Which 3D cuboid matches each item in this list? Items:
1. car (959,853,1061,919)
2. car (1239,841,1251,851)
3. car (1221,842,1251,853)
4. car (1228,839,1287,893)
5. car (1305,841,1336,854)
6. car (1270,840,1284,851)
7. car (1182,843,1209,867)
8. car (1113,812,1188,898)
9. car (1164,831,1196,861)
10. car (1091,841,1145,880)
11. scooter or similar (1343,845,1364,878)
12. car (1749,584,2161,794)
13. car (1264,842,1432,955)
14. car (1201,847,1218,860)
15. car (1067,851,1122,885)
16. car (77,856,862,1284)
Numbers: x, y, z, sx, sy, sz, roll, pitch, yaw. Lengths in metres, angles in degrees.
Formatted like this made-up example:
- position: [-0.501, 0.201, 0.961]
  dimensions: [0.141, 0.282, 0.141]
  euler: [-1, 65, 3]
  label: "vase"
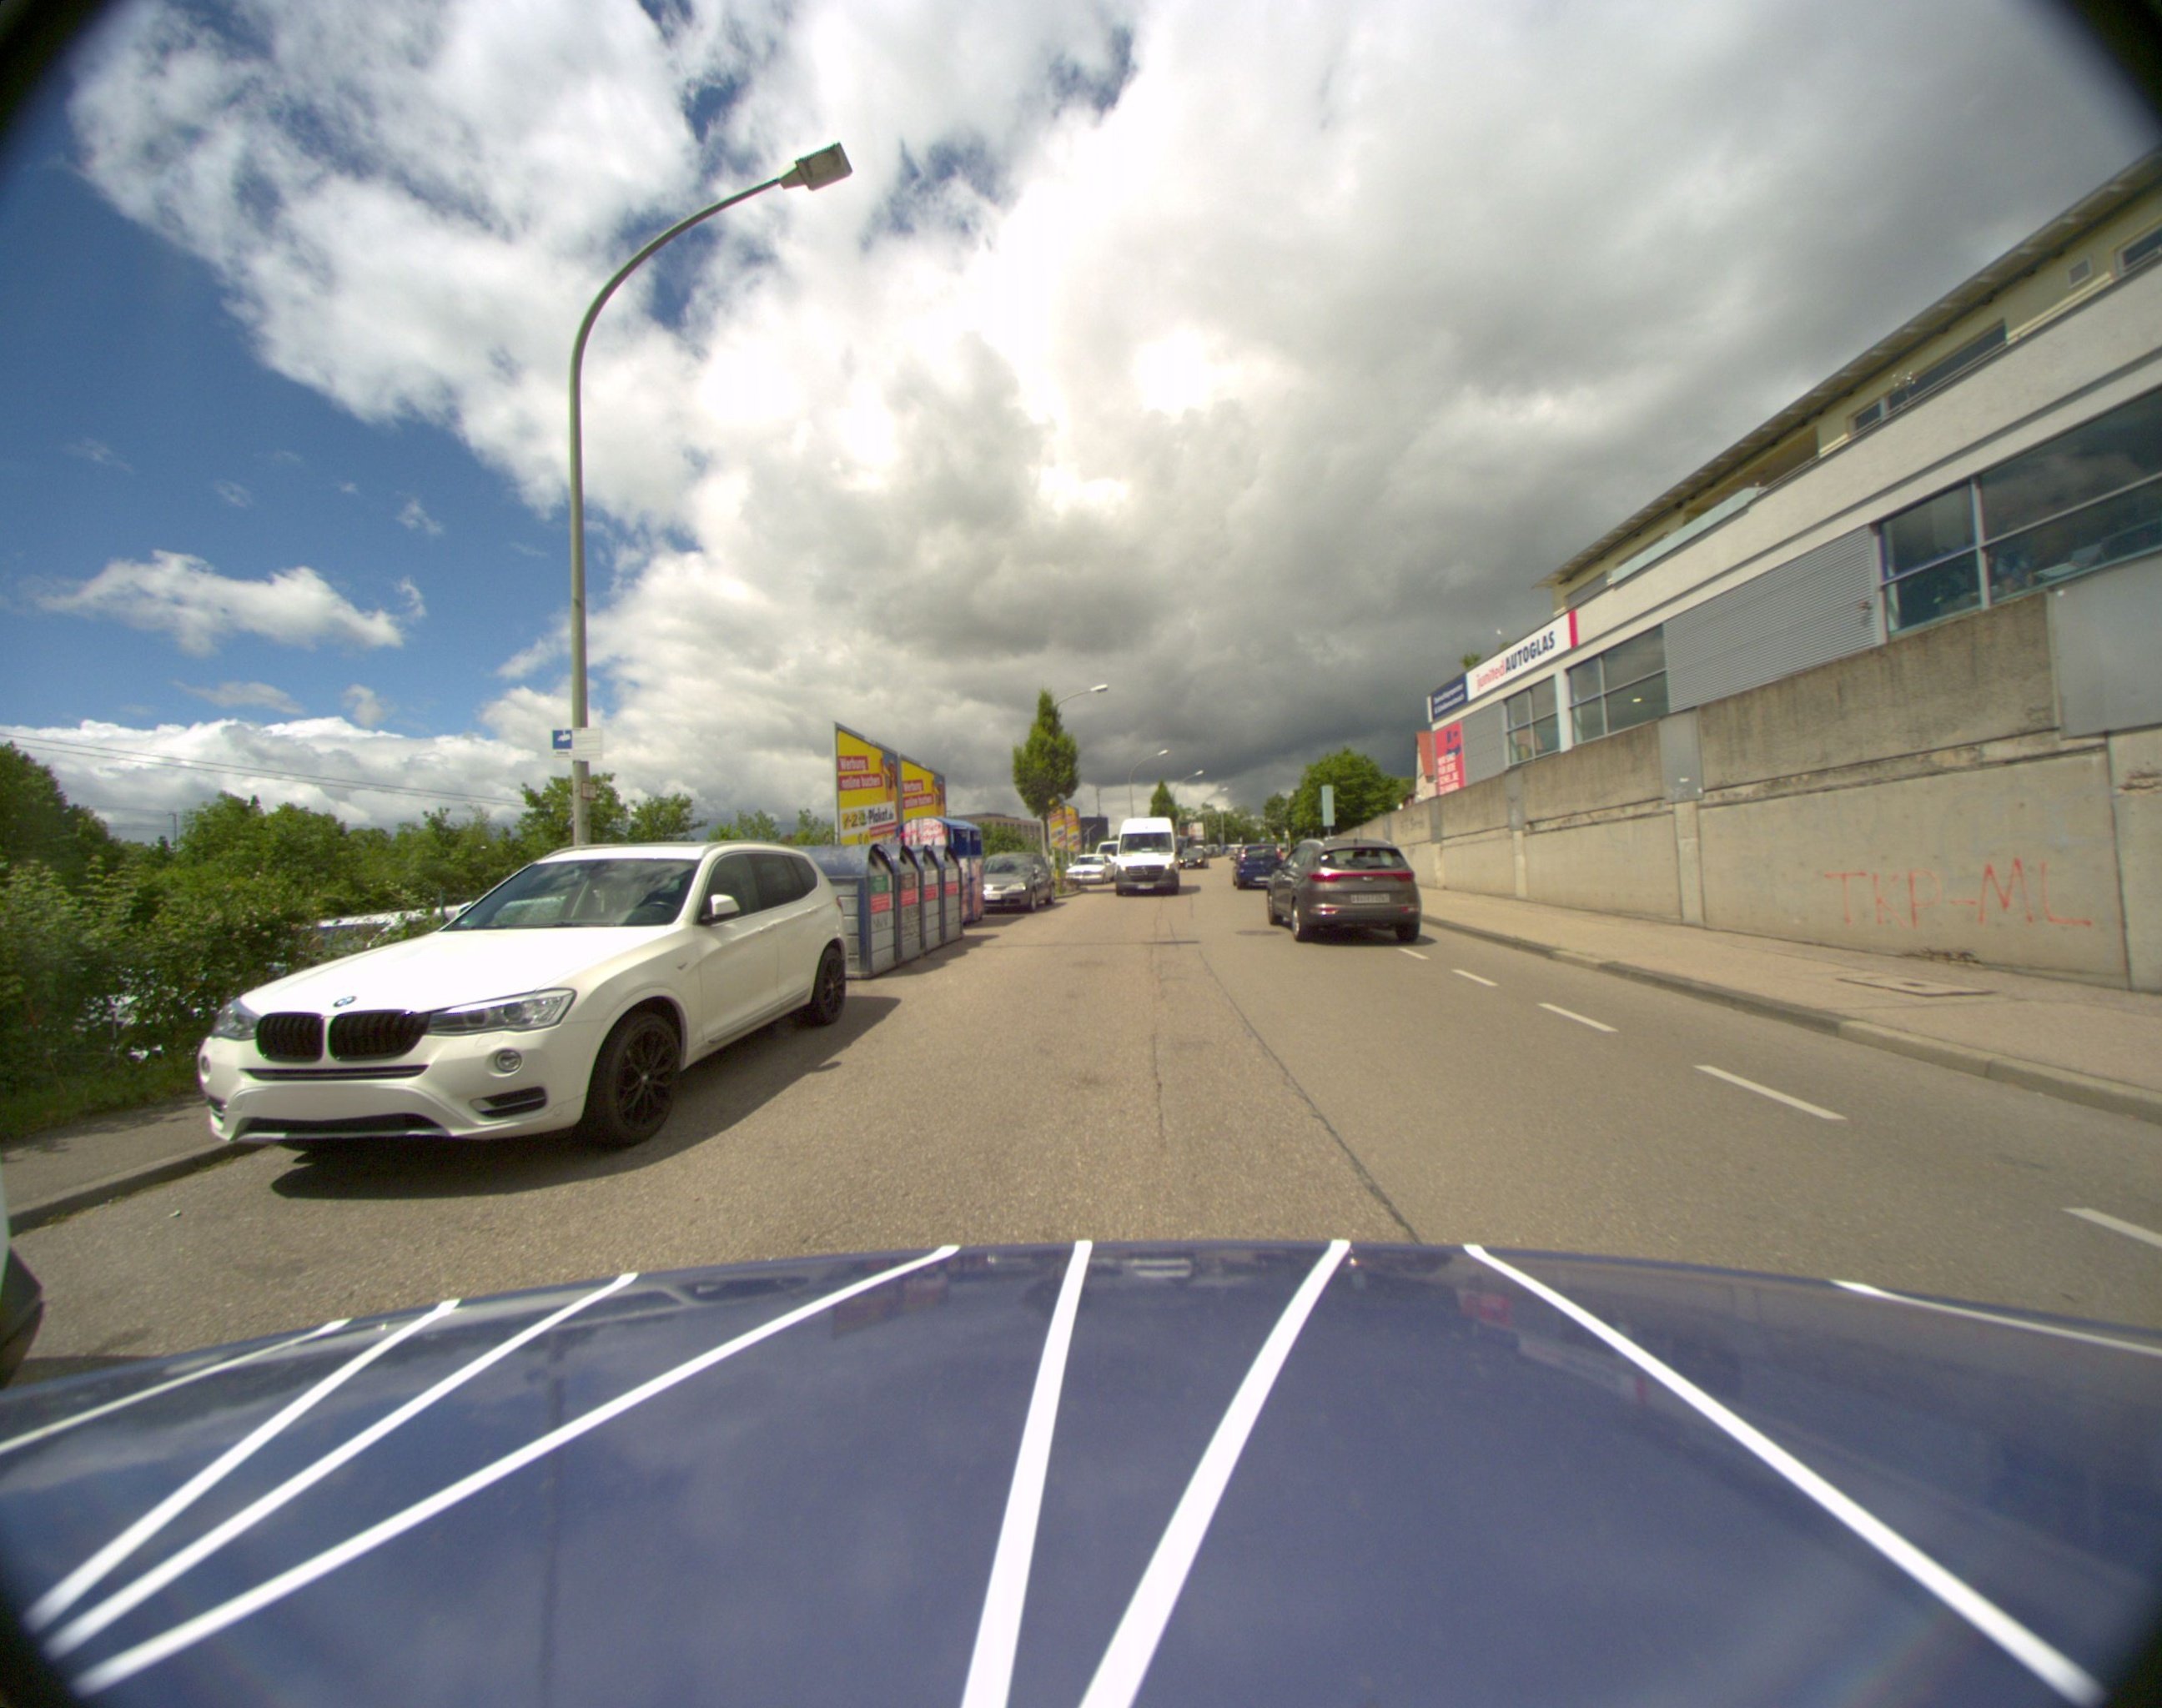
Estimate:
- position: [-1.737, 0.763, 19.933]
  dimensions: [1.658, 1.477, 4.047]
  euler: [-1, 1, 9]
  label: "car"
- position: [27.092, -1.293, 125.612]
  dimensions: [1.645, 1.523, 4.226]
  euler: [-2, 1, 15]
  label: "car"
- position: [28.979, -1.225, 142.147]
  dimensions: [5.134, 1.958, 1.959]
  euler: [-3, 1, -16]
  label: "car"
- position: [6.404, 0.391, 27.898]
  dimensions: [1.630, 1.807, 3.781]
  euler: [-1, 1, 6]
  label: "car"
- position: [32.269, -0.888, 102.475]
  dimensions: [3.851, 1.497, 1.588]
  euler: [-2, 1, 19]
  label: "car"
- position: [28.109, -1.250, 108.909]
  dimensions: [1.603, 1.482, 3.686]
  euler: [-2, 1, 21]
  label: "car"
- position: [7.735, 0.049, 51.196]
  dimensions: [1.583, 1.497, 3.960]
  euler: [-3, 1, 11]
  label: "car"
- position: [2.572, -0.005, 26.548]
  dimensions: [2.081, 2.576, 6.066]
  euler: [-3, 1, 9]
  label: "car"
- position: [9.330, -0.751, 71.054]
  dimensions: [2.057, 2.579, 5.741]
  euler: [-2, 1, 16]
  label: "car"
- position: [2.180, 0.297, 42.477]
  dimensions: [1.978, 1.992, 5.551]
  euler: [-3, 0, 13]
  label: "car"
- position: [10.959, 0.275, 30.611]
  dimensions: [0.558, 1.268, 1.306]
  euler: [-3, 1, 10]
  label: "scooter or similar"
- position: [10.506, -1.693, 8.924]
  dimensions: [1.810, 1.627, 4.105]
  euler: [-3, 1, 3]
  label: "car"
- position: [4.353, 0.630, 13.062]
  dimensions: [1.803, 1.613, 4.094]
  euler: [-1, 1, 6]
  label: "car"
- position: [14.979, -0.088, 88.487]
  dimensions: [1.520, 1.446, 3.961]
  euler: [-2, 1, 16]
  label: "car"
- position: [0.671, 0.591, 34.694]
  dimensions: [1.640, 1.379, 4.208]
  euler: [-3, 0, 12]
  label: "car"
- position: [-3.147, 0.903, 5.339]
  dimensions: [1.689, 1.650, 4.480]
  euler: [-2, 1, 2]
  label: "car"
